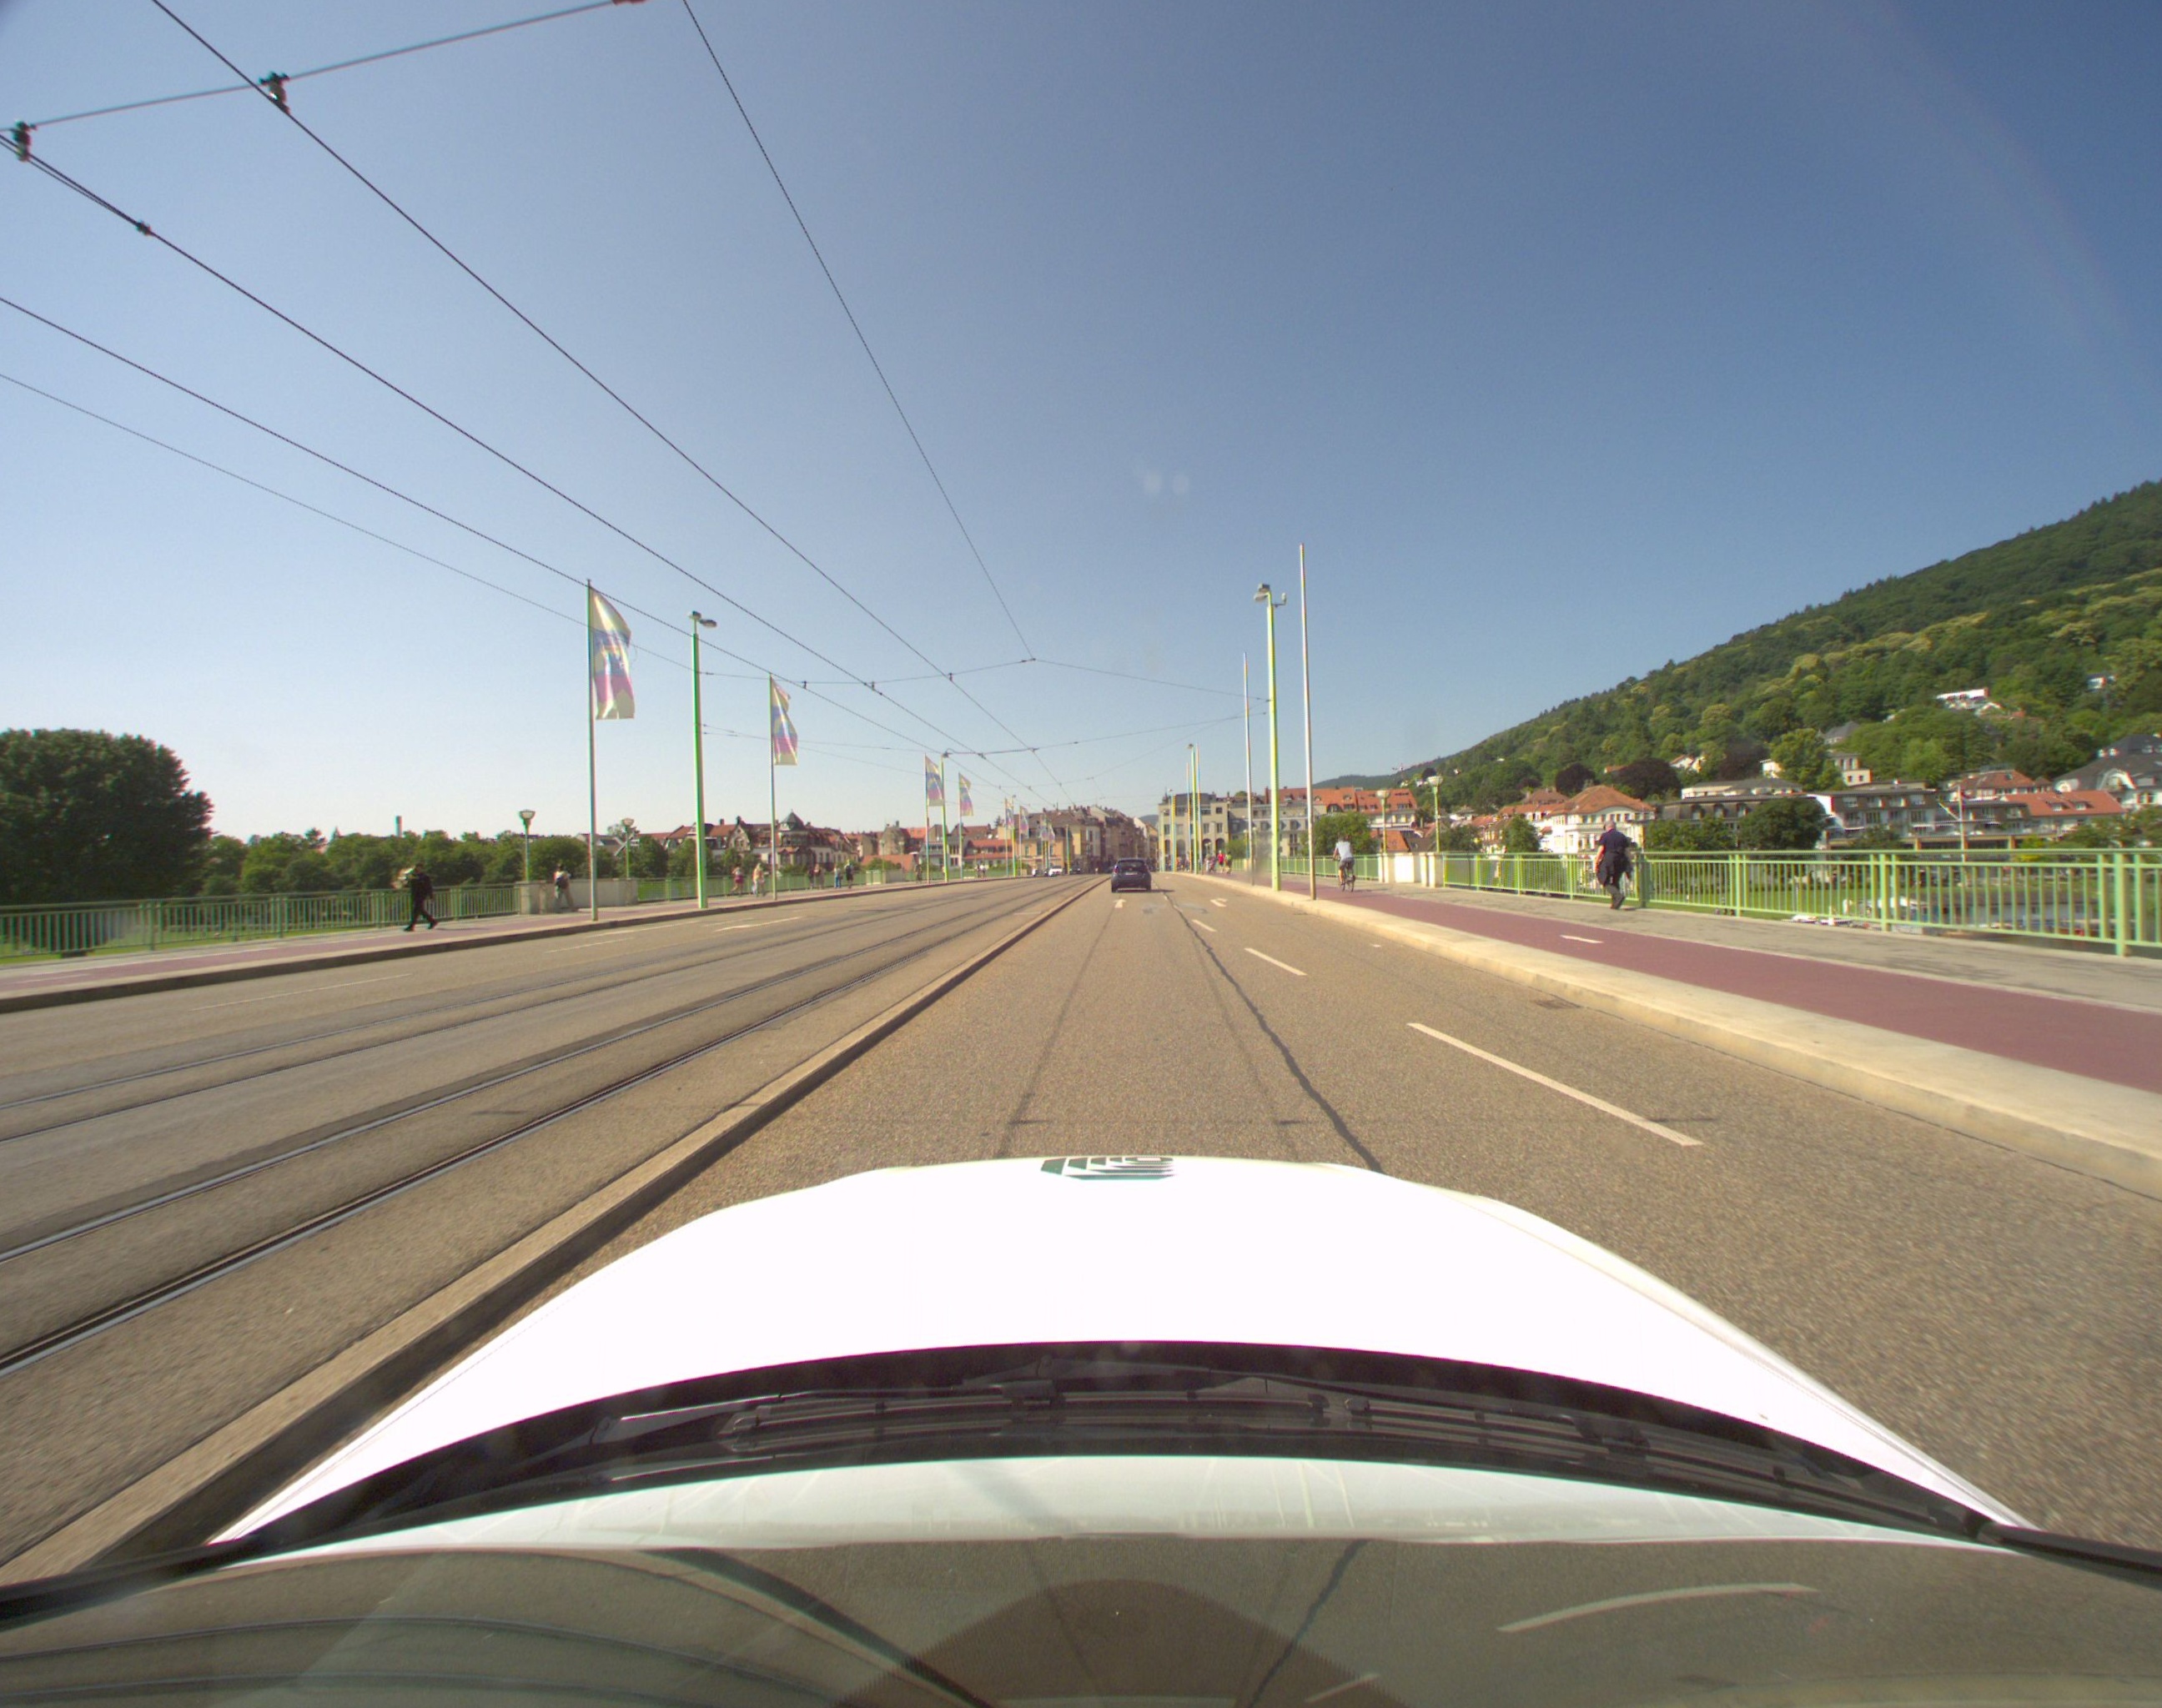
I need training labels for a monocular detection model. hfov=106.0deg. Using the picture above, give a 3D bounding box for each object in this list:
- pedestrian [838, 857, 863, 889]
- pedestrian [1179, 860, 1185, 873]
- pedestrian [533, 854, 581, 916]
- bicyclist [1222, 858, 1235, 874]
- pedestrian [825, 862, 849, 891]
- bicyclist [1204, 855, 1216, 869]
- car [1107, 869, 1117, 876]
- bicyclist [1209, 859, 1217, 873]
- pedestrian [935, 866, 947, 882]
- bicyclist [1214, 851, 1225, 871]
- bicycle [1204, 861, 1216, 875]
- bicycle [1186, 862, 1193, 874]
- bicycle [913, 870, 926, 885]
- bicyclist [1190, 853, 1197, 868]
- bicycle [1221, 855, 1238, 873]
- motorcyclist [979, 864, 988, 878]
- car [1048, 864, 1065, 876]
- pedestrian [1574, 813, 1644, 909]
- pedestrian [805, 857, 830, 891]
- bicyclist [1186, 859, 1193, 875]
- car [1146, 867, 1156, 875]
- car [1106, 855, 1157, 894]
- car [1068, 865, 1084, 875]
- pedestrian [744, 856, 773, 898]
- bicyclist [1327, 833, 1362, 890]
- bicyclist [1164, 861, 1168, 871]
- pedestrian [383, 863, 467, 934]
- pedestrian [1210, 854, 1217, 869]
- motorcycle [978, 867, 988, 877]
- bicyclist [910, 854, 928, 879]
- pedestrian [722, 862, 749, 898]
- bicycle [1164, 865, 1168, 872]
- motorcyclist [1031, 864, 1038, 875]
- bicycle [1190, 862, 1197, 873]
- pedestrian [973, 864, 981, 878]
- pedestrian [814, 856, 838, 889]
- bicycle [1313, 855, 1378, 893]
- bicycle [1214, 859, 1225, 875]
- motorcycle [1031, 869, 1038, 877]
[{"bbox_3d":[-14.585,1.192,51.513,1.093,2.013,1.295,-2,0,1],"label":"pedestrian"},{"bbox_3d":[14.213,1.749,114.539,0.830,1.689,0.870,-2,-1,3],"label":"pedestrian"},{"bbox_3d":[-17.709,1.037,27.551,0.895,2.013,1.042,-2,0,1],"label":"pedestrian"},{"bbox_3d":[9.906,0.835,54.791,0.665,1.045,0.979,-2,-1,-2],"label":"bicyclist"},{"bbox_3d":[-15.386,1.407,51.414,1.093,1.729,1.295,-2,0,1],"label":"pedestrian"},{"bbox_3d":[9.950,0.629,62.879,0.732,1.030,1.176,-2,-1,2],"label":"bicyclist"},{"bbox_3d":[7.814,4.720,207.038,1.981,1.479,4.011,-2,-1,10],"label":"car"},{"bbox_3d":[10.810,0.960,66.589,0.595,1.101,0.855,-2,-1,13],"label":"bicyclist"},{"bbox_3d":[-14.504,2.056,84.401,0.894,1.658,1.030,-1,-1,6],"label":"pedestrian"},{"bbox_3d":[11.703,0.596,68.949,0.732,1.635,0.867,-2,-1,2],"label":"bicyclist"},{"bbox_3d":[9.965,1.060,62.821,0.616,1.037,2.052,-2,-1,2],"label":"bicycle"},{"bbox_3d":[11.840,1.523,89.045,0.591,1.178,1.940,-2,-1,2],"label":"bicycle"},{"bbox_3d":[-12.987,1.888,65.600,0.586,1.096,2.113,-2,0,1],"label":"bicycle"},{"bbox_3d":[13.038,0.785,94.634,0.625,1.689,0.869,-2,-1,2],"label":"bicyclist"},{"bbox_3d":[9.905,0.685,54.429,0.693,1.193,2.078,-2,-1,-2],"label":"bicycle"},{"bbox_3d":[-10.998,1.937,91.716,0.797,1.549,1.070,-2,-1,3],"label":"motorcyclist"},{"bbox_3d":[-3.243,2.100,105.417,1.990,1.409,4.541,-2,0,-4],"label":"car"},{"bbox_3d":[9.952,0.120,15.373,0.653,1.743,0.978,-2,1,-2],"label":"pedestrian"},{"bbox_3d":[-16.303,1.219,50.395,1.093,2.013,1.129,-2,0,1],"label":"pedestrian"},{"bbox_3d":[11.820,1.389,89.031,0.653,1.676,0.869,-2,-1,2],"label":"bicyclist"},{"bbox_3d":[13.715,3.277,158.560,1.795,1.469,4.006,-3,-1,6],"label":"car"},{"bbox_3d":[2.189,0.879,36.282,1.904,1.540,3.998,-3,0,-1],"label":"car"},{"bbox_3d":[-0.861,2.721,141.724,1.981,1.599,4.350,-2,-1,11],"label":"car"},{"bbox_3d":[-15.818,1.097,39.952,0.966,2.013,1.101,-2,0,-2],"label":"pedestrian"},{"bbox_3d":[8.342,0.234,25.842,0.671,1.744,1.150,-2,0,-1],"label":"bicyclist"},{"bbox_3d":[14.192,1.965,135.980,0.649,1.567,1.340,-4,-2,7],"label":"bicyclist"},{"bbox_3d":[-17.147,1.130,21.321,1.093,1.758,1.295,-2,0,1],"label":"pedestrian"},{"bbox_3d":[14.889,0.848,91.245,0.597,1.586,0.867,-2,-1,2],"label":"pedestrian"},{"bbox_3d":[-11.012,2.058,91.722,0.698,1.110,2.180,-2,-1,3],"label":"motorcycle"},{"bbox_3d":[-13.043,1.010,65.612,1.093,1.961,1.129,-2,0,1],"label":"bicyclist"},{"bbox_3d":[-16.902,1.253,39.865,0.751,1.722,1.176,-1,-1,1],"label":"pedestrian"},{"bbox_3d":[14.211,2.417,135.905,0.649,0.981,2.182,-4,-2,7],"label":"bicycle"},{"bbox_3d":[-6.365,2.127,111.666,0.824,1.574,0.832,-2,-1,3],"label":"motorcyclist"},{"bbox_3d":[13.070,1.565,94.834,0.524,1.178,2.030,-2,-1,2],"label":"bicycle"},{"bbox_3d":[-13.216,2.177,103.493,0.826,1.722,1.095,-2,-1,4],"label":"pedestrian"},{"bbox_3d":[-16.358,1.165,52.207,1.093,2.013,1.129,-2,0,1],"label":"pedestrian"},{"bbox_3d":[8.357,0.592,25.985,0.790,1.096,3.743,-2,0,0],"label":"bicycle"},{"bbox_3d":[11.734,1.081,68.886,0.616,1.271,2.217,-2,-1,2],"label":"bicycle"},{"bbox_3d":[-6.324,2.580,111.513,0.698,1.110,2.180,-2,-1,3],"label":"motorcycle"}]
